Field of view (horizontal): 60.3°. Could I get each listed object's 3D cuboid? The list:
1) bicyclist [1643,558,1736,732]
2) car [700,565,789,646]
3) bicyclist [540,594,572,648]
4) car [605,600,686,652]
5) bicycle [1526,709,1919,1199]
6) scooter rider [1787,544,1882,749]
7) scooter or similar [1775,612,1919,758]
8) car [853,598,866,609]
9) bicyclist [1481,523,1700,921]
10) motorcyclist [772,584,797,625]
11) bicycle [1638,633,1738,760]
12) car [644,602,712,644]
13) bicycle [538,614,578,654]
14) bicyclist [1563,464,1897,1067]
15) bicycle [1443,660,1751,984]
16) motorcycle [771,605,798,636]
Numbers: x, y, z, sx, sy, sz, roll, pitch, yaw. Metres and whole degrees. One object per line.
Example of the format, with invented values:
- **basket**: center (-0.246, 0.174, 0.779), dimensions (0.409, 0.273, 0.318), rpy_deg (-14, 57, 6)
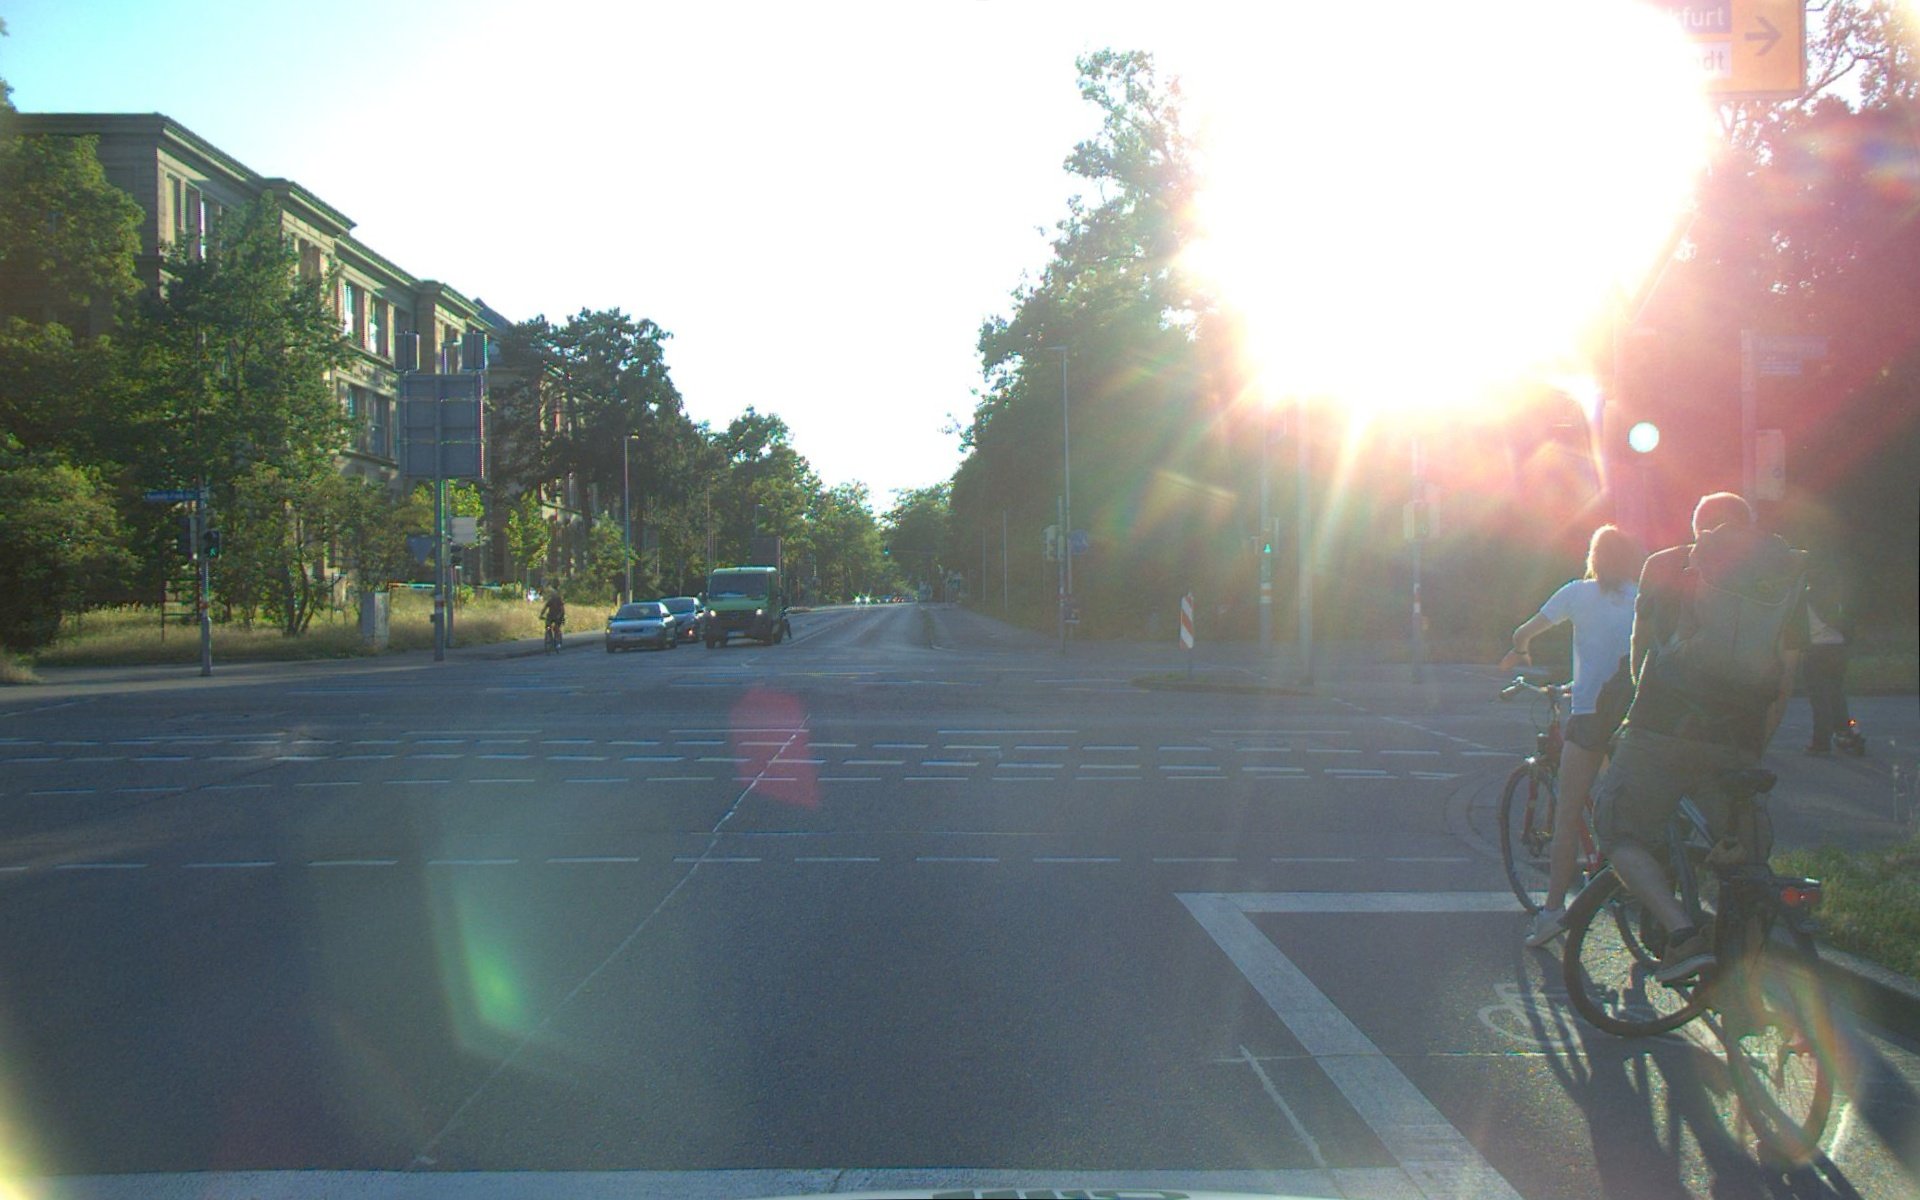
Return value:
- **bicyclist**: center (6.724, 0.399, 15.233), dimensions (0.745, 1.544, 0.856), rpy_deg (0, 0, 27)
- **car**: center (-6.507, 0.155, 50.587), dimensions (1.997, 2.317, 5.940), rpy_deg (-1, 0, -1)
- **bicyclist**: center (-11.827, 0.604, 48.441), dimensions (0.669, 1.538, 0.955), rpy_deg (-1, 0, -1)
- **car**: center (-9.385, 0.748, 49.596), dimensions (1.694, 1.433, 4.139), rpy_deg (-1, 0, -1)
- **bicycle**: center (2.313, 0.938, 5.012), dimensions (0.684, 1.081, 1.826), rpy_deg (0, 0, 4)
- **scooter rider**: center (7.804, 0.411, 14.777), dimensions (0.554, 1.797, 0.505), rpy_deg (-1, -1, 0)
- **scooter or similar**: center (7.812, 0.716, 14.573), dimensions (0.550, 1.210, 1.422), rpy_deg (0, 0, 0)
- **car**: center (-13.964, 0.472, 228.879), dimensions (1.735, 1.500, 3.772), rpy_deg (-1, 0, -5)
- **bicyclist**: center (2.706, 0.495, 7.175), dimensions (0.591, 1.613, 0.909), rpy_deg (0, 0, -1)
- **motorcyclist**: center (-5.951, 0.150, 56.093), dimensions (0.734, 1.382, 0.704), rpy_deg (-1, 0, -1)
- **bicycle**: center (6.702, 0.847, 15.179), dimensions (0.756, 1.024, 2.014), rpy_deg (0, 0, 26)
- **car**: center (-9.533, 0.753, 56.136), dimensions (1.729, 1.351, 3.642), rpy_deg (-1, 0, -1)
- **bicycle**: center (-11.827, 0.989, 48.736), dimensions (0.672, 1.143, 2.168), rpy_deg (-1, 0, -1)
- **bicyclist**: center (2.321, 0.462, 5.078), dimensions (0.684, 1.696, 0.799), rpy_deg (0, 0, 4)
- **bicycle**: center (2.706, 0.881, 7.254), dimensions (0.601, 1.158, 1.884), rpy_deg (0, 0, -1)
- **motorcycle**: center (-5.943, 0.679, 56.074), dimensions (0.739, 1.019, 1.878), rpy_deg (-1, 0, -1)
